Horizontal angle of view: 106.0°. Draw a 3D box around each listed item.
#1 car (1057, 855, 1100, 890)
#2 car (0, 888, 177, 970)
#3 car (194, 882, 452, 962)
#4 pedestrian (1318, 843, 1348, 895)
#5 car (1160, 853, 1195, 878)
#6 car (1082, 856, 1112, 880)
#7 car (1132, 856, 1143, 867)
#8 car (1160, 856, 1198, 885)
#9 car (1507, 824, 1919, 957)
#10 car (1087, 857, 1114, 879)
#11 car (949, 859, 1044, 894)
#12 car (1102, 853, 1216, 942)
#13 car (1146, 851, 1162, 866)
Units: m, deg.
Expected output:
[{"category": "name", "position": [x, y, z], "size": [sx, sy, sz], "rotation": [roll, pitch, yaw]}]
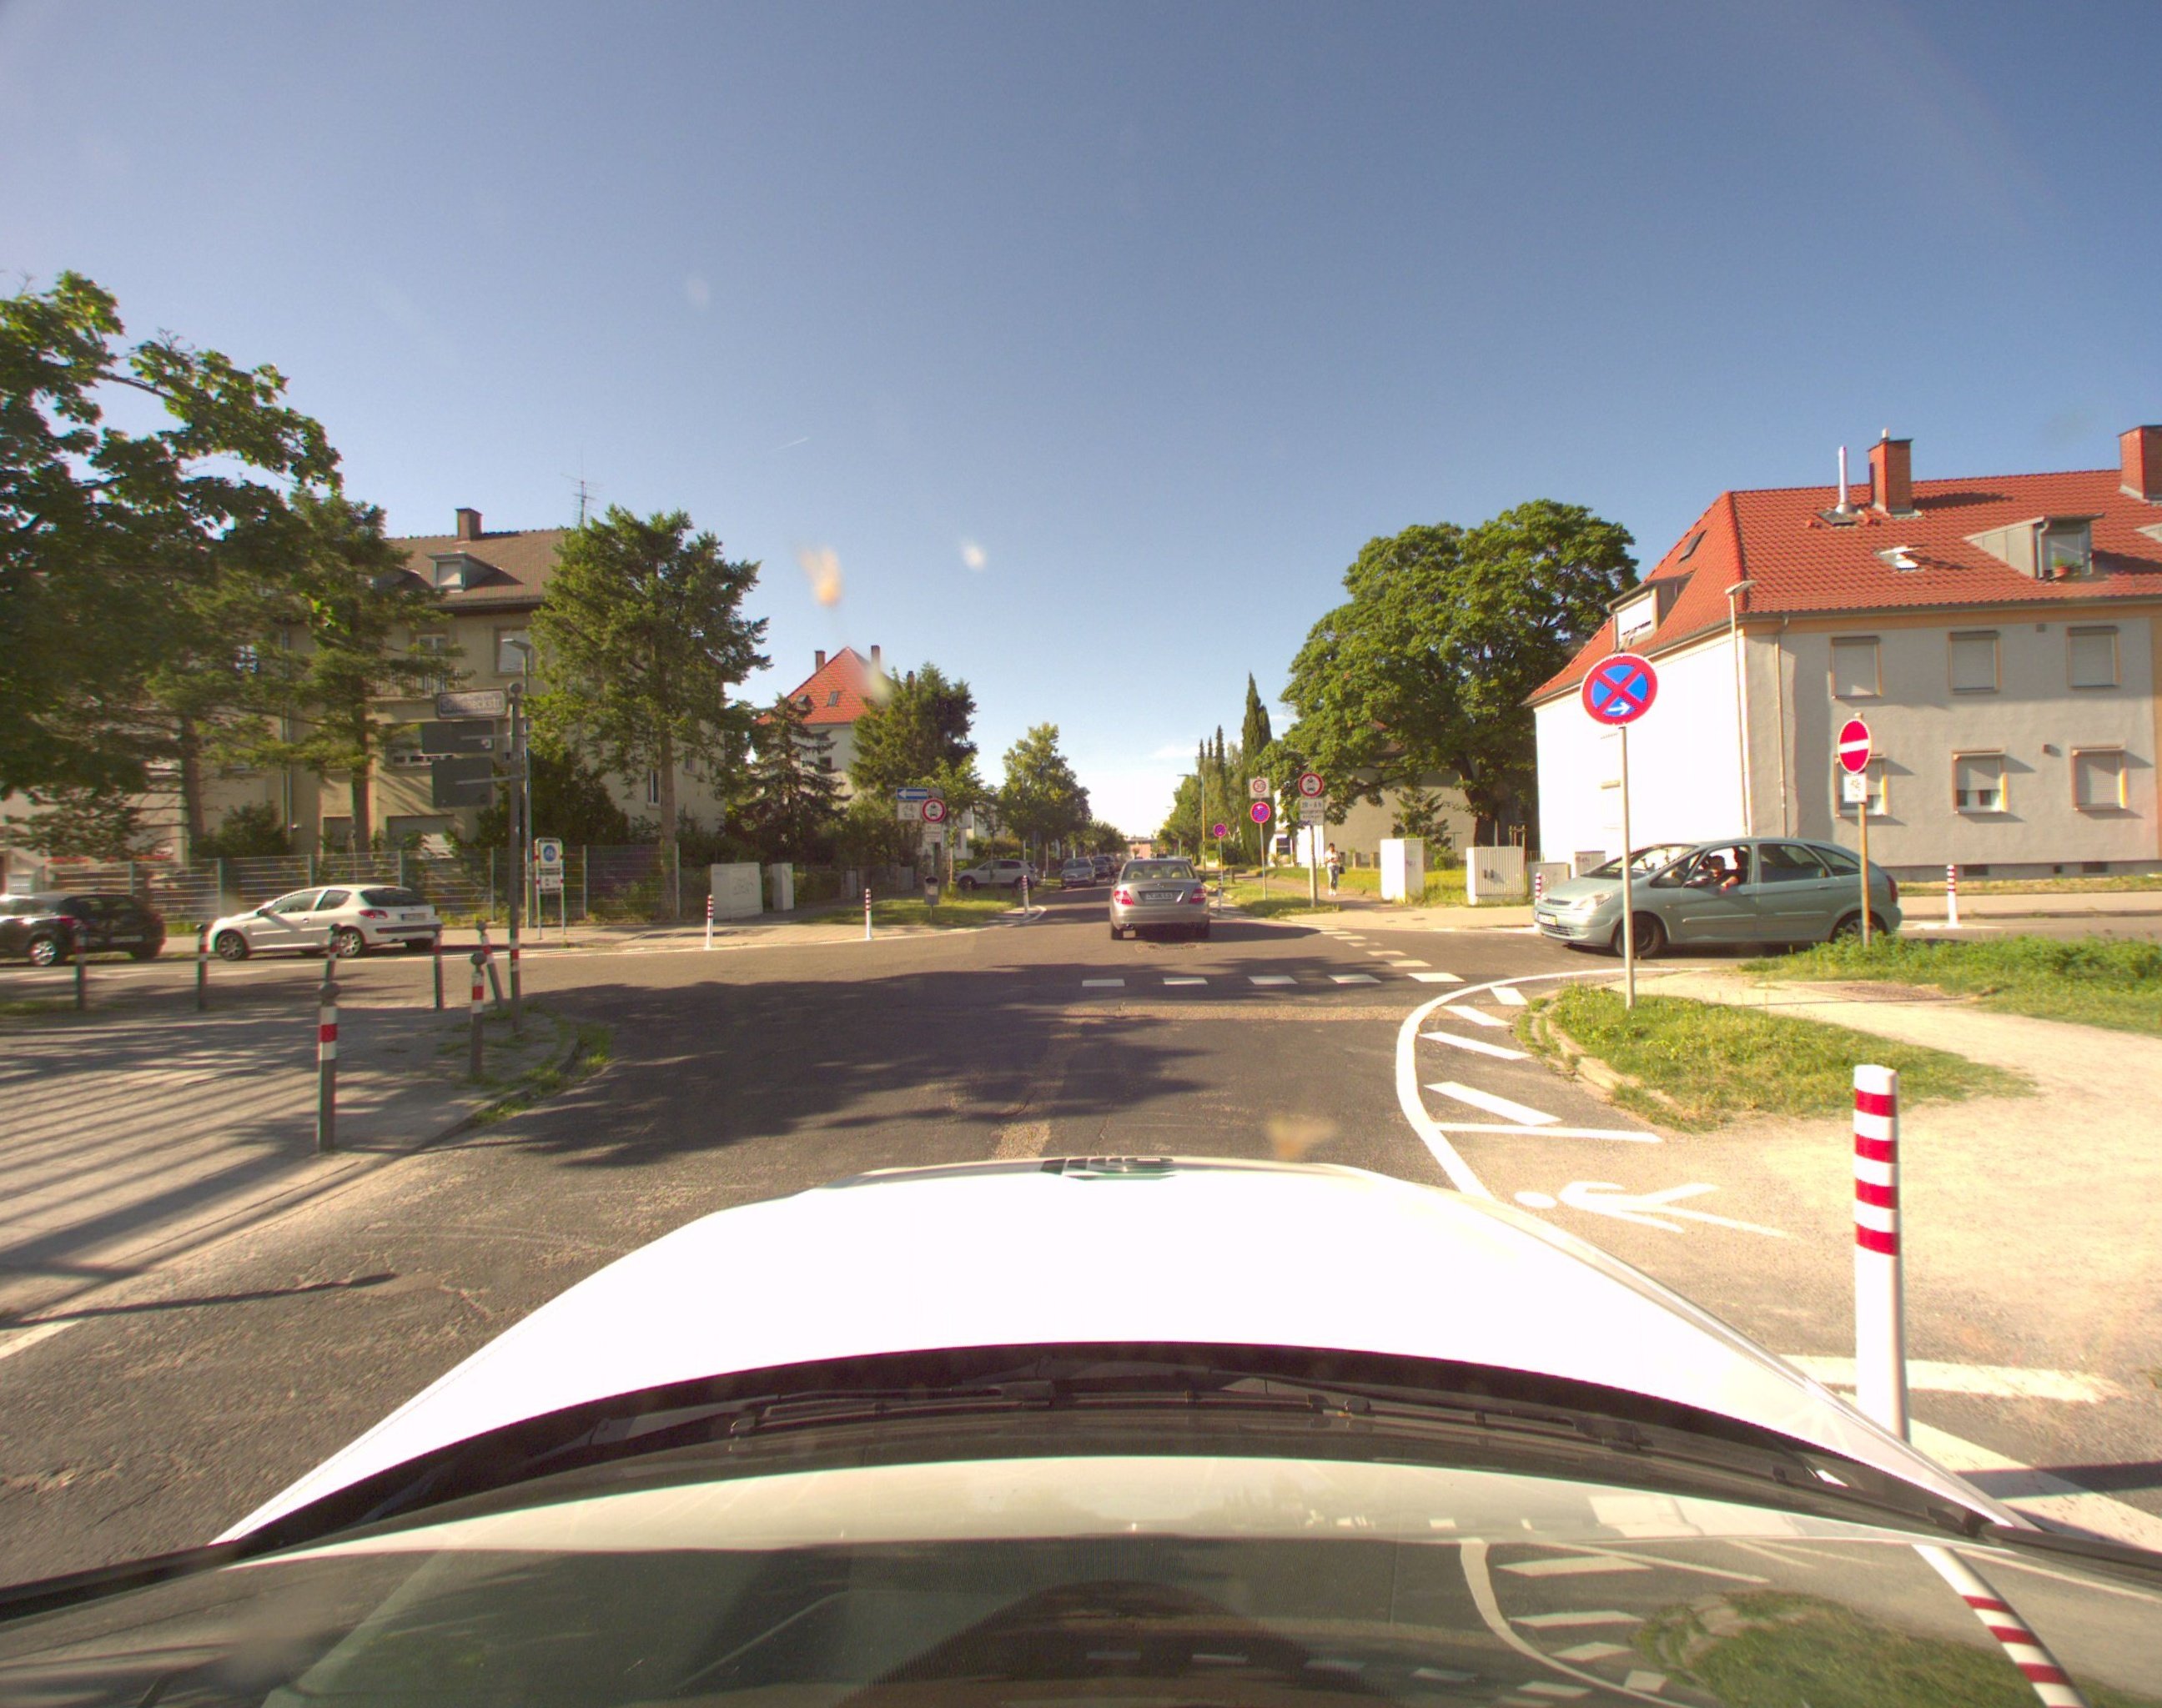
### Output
[{"category": "car", "position": [-0.075, 0.938, 43.197], "size": [1.986, 1.609, 4.002], "rotation": [-5, 0, 2]}, {"category": "car", "position": [-21.286, 1.527, 16.690], "size": [3.796, 1.495, 1.679], "rotation": [-2, -1, 4]}, {"category": "car", "position": [-15.316, 1.350, 16.587], "size": [3.747, 1.398, 1.708], "rotation": [-2, -1, 4]}, {"category": "pedestrian", "position": [8.076, 0.485, 26.156], "size": [0.761, 1.611, 0.836], "rotation": [-2, -1, 9]}, {"category": "car", "position": [6.558, 0.765, 55.739], "size": [1.986, 1.610, 4.002], "rotation": [-2, 0, 2]}, {"category": "car", "position": [1.241, 1.025, 60.978], "size": [1.986, 1.609, 4.002], "rotation": [-5, 0, 2]}, {"category": "car", "position": [8.732, 1.169, 125.429], "size": [1.591, 1.609, 3.646], "rotation": [-2, 0, 2]}, {"category": "car", "position": [5.401, 0.907, 45.182], "size": [1.726, 1.480, 3.727], "rotation": [-2, 0, 2]}, {"category": "car", "position": [8.620, 0.484, 11.468], "size": [4.213, 1.608, 1.891], "rotation": [-2, 0, 4]}, {"category": "car", "position": [1.621, 1.114, 66.765], "size": [1.986, 1.609, 4.002], "rotation": [-5, 0, 2]}, {"category": "car", "position": [-3.927, 1.030, 38.263], "size": [4.177, 1.564, 1.842], "rotation": [-1, 0, 1]}, {"category": "car", "position": [1.467, 0.729, 15.379], "size": [1.827, 1.441, 4.006], "rotation": [-1, 0, 5]}, {"category": "car", "position": [9.021, 0.552, 100.779], "size": [1.847, 1.841, 4.004], "rotation": [-2, 0, 4]}]
